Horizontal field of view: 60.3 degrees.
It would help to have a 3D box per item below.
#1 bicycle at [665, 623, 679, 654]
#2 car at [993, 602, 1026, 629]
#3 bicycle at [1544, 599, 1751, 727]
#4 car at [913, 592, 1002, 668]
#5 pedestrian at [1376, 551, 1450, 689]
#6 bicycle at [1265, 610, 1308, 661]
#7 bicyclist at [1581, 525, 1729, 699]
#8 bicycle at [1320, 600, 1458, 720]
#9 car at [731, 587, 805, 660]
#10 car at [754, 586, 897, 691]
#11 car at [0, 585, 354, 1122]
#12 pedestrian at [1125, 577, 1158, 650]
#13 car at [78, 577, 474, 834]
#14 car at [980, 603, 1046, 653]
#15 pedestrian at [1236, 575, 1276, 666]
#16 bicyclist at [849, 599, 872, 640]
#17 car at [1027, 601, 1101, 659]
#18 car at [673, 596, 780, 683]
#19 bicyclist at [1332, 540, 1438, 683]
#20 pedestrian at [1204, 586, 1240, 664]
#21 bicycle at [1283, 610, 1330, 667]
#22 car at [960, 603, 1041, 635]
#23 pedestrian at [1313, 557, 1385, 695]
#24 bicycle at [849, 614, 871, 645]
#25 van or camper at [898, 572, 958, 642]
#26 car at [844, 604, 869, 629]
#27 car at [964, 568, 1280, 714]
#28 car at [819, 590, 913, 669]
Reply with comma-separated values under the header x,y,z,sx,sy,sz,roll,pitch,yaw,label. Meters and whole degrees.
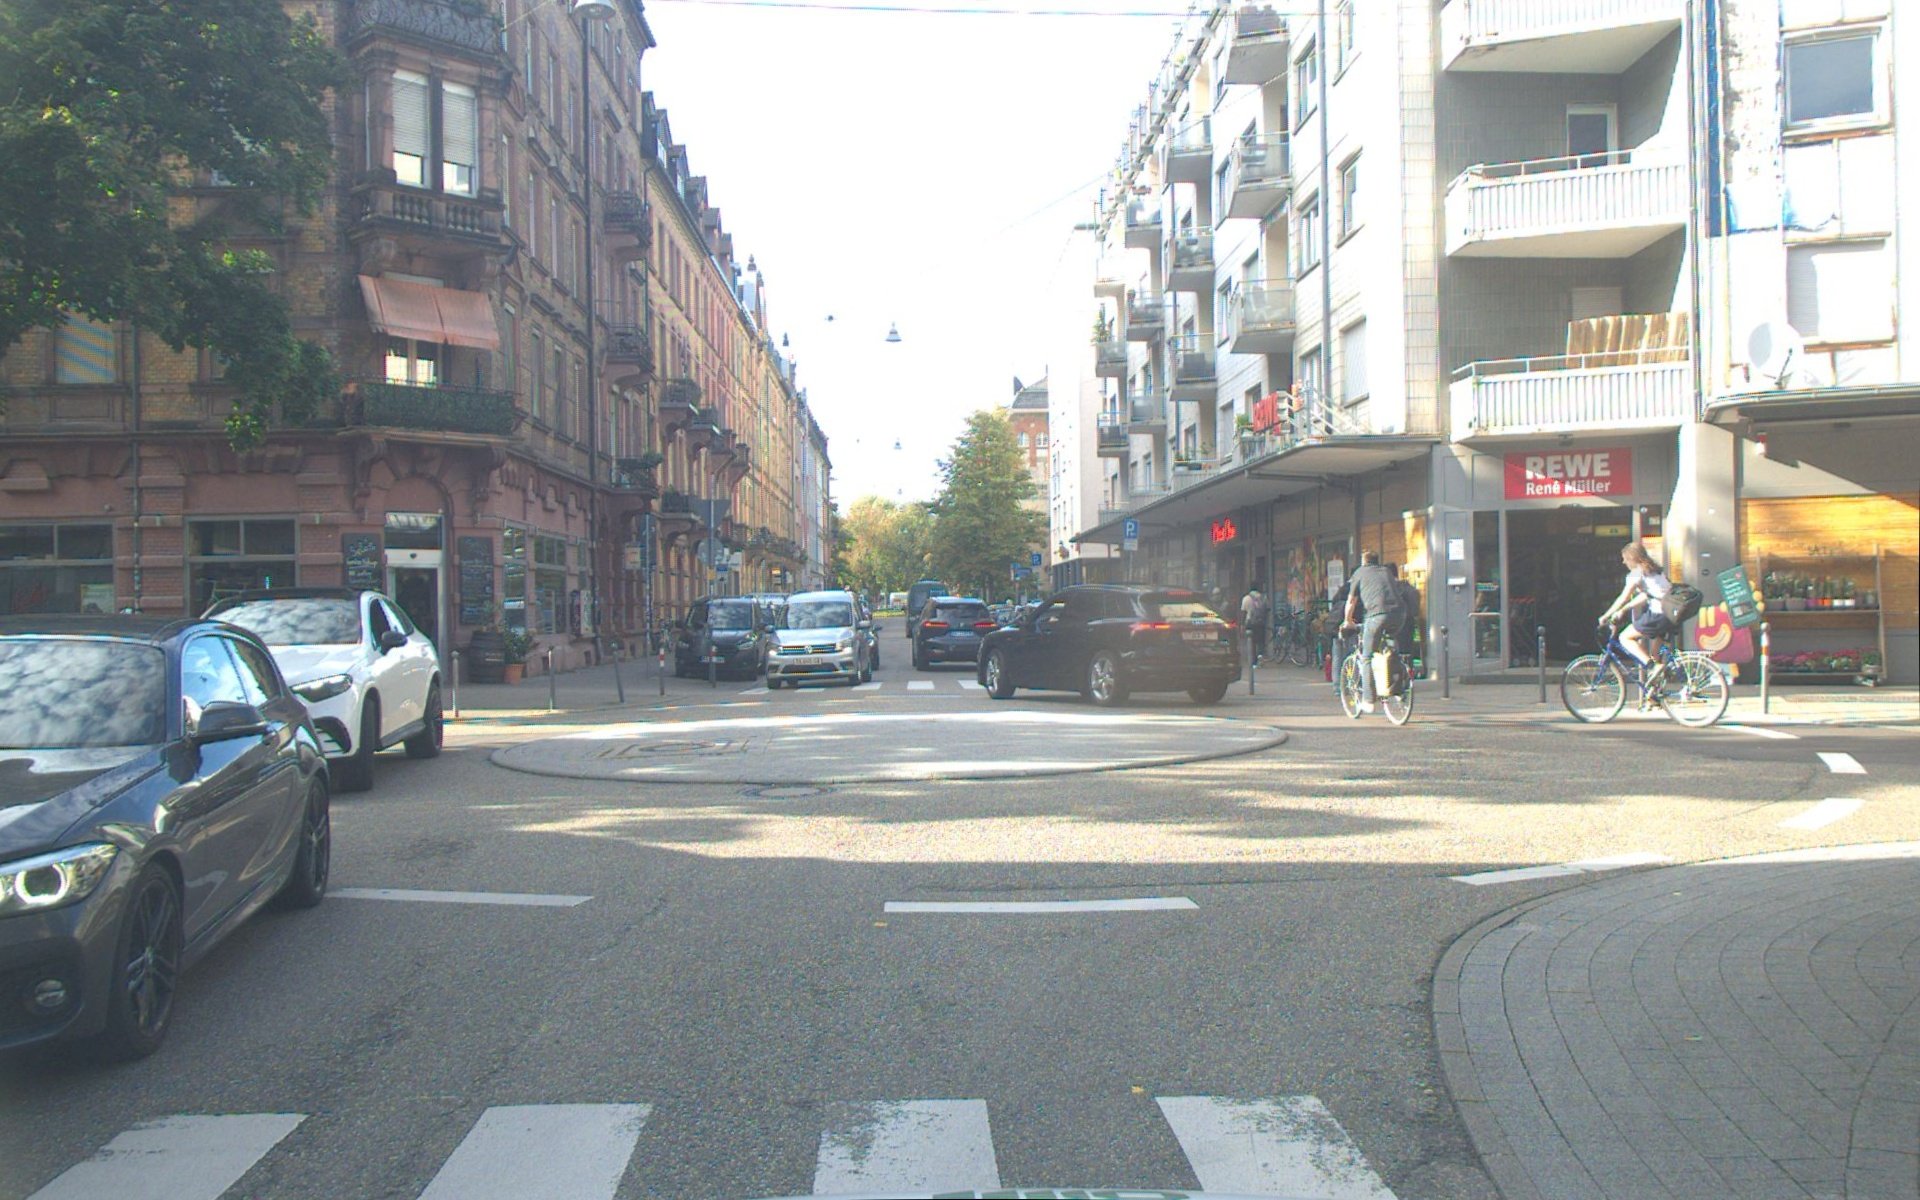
x,y,z,sx,sy,sz,roll,pitch,yaw,label
-9.116,1.216,52.387,0.353,0.963,1.713,0,0,-6,bicycle
2.719,0.836,91.662,1.612,1.347,3.576,-4,0,-1,car
7.016,0.615,16.974,0.702,1.220,1.957,-1,0,-28,bicycle
-0.115,0.677,39.109,1.953,1.646,3.998,-1,0,-2,car
6.316,0.275,23.083,0.850,1.883,0.613,-1,0,3,pedestrian
6.666,0.709,33.842,0.353,1.016,1.713,-1,0,-6,bicycle
7.074,0.113,16.865,0.929,1.697,1.007,-1,0,-27,bicyclist
4.583,0.607,17.866,0.653,1.198,2.494,0,0,-5,bicycle
-5.721,0.680,49.597,1.954,2.049,3.997,-2,0,-4,car
-2.502,0.689,31.999,1.755,1.822,4.739,-2,0,7,car
-3.616,0.723,6.448,1.719,1.461,4.199,0,-1,-12,car
4.825,0.357,43.947,0.715,1.897,1.063,-1,0,13,pedestrian
-5.701,0.732,14.523,1.906,1.752,4.842,-3,1,-7,car
1.715,0.900,54.622,1.953,1.512,3.999,-2,0,-1,car
5.801,0.394,32.418,0.725,1.742,0.734,-1,0,9,pedestrian
-5.012,0.988,83.243,1.111,2.033,1.027,1,-1,-6,bicyclist
2.673,0.743,43.102,1.612,1.347,3.576,-4,0,-1,car
-5.239,0.830,37.615,1.746,1.754,4.445,0,1,1,car
4.576,0.121,17.861,0.915,1.510,0.746,0,-1,-5,bicyclist
5.703,0.537,36.013,0.729,1.657,0.813,-1,0,9,pedestrian
6.586,0.719,31.480,0.356,1.034,1.428,-1,0,-10,bicycle
2.038,0.965,83.983,3.908,1.512,1.998,-2,0,-4,car
5.452,0.360,23.208,0.850,1.883,0.613,-1,0,3,pedestrian
-5.032,1.489,83.252,0.907,1.515,3.459,1,-1,-6,bicycle
-1.496,0.305,76.237,2.481,3.090,4.455,-1,0,-4,van or camper
-8.600,1.361,138.286,1.953,2.049,3.998,-1,0,-2,car
2.131,0.506,23.316,2.014,1.754,4.798,-3,1,-29,car
-2.256,0.680,40.889,1.888,1.754,4.736,-3,0,1,car
